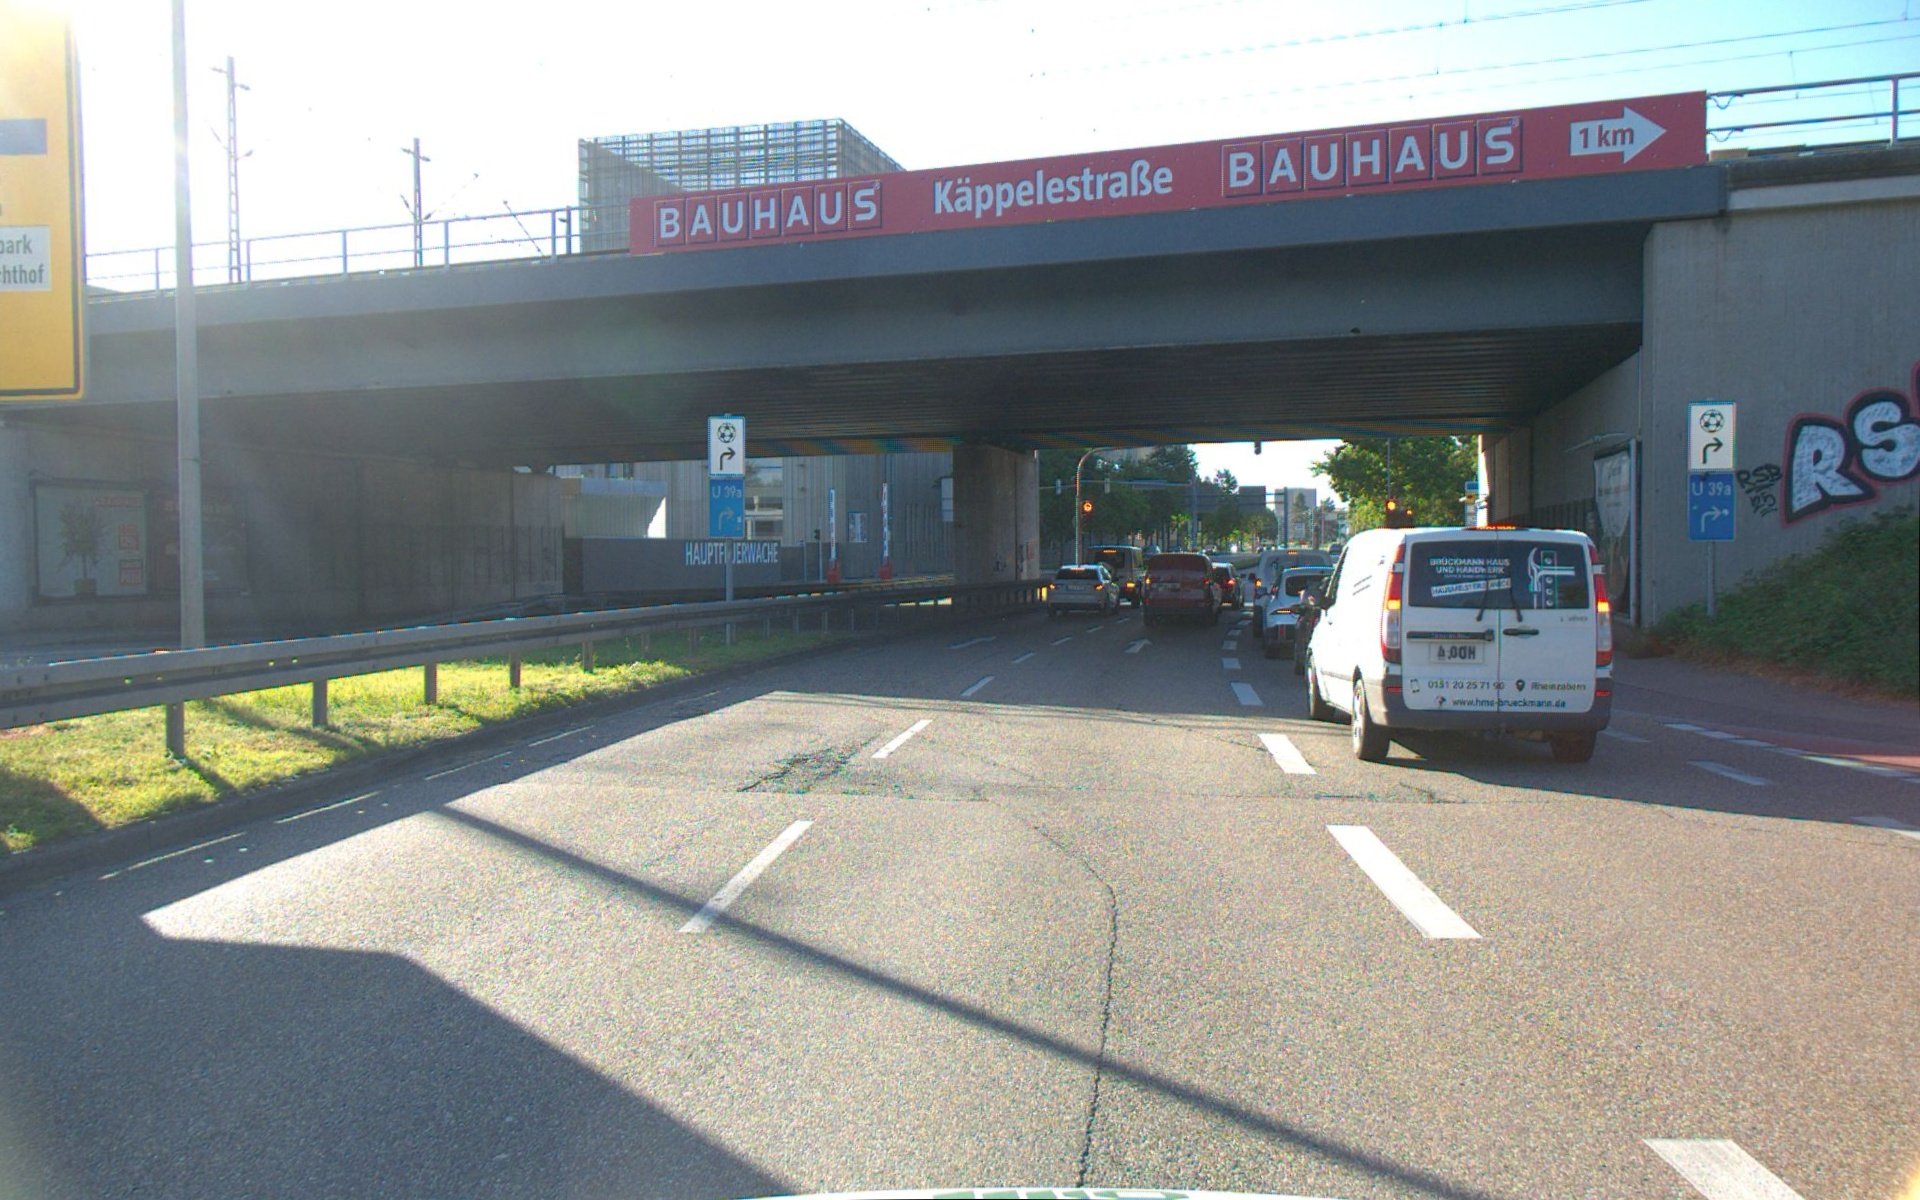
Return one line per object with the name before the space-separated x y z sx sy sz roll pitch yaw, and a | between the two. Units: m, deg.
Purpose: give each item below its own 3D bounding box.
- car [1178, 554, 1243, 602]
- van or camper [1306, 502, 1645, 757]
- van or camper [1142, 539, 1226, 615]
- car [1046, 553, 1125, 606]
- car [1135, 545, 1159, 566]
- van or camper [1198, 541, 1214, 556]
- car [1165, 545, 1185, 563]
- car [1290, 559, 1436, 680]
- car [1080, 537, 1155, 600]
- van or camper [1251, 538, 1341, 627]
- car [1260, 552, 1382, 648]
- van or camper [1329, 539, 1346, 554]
car | 8.290 -0.727 54.455 1.725 1.501 4.293 -1 1 13
van or camper | 4.396 0.170 14.940 1.917 1.916 4.883 0 1 5
van or camper | 5.786 -0.602 42.439 1.716 1.845 3.962 0 1 14
car | 3.635 -0.613 47.529 1.671 1.478 3.746 0 1 14
car | 17.950 -4.267 158.399 1.747 1.896 3.949 -2 1 14
van or camper | 32.145 -6.710 216.134 1.747 1.896 3.912 -2 1 11
car | 23.845 -5.096 183.144 1.747 1.896 3.912 -2 1 14
car | 5.391 0.195 22.468 1.570 1.459 3.682 1 2 8
car | 5.261 -1.045 54.801 1.826 1.980 4.600 0 1 14
van or camper | 7.297 -0.410 36.233 1.786 1.822 4.549 1 1 10
car | 6.121 -0.034 28.425 1.726 1.501 4.293 -1 1 8
van or camper | 52.950 -7.480 231.968 1.748 1.896 3.910 -2 1 19
